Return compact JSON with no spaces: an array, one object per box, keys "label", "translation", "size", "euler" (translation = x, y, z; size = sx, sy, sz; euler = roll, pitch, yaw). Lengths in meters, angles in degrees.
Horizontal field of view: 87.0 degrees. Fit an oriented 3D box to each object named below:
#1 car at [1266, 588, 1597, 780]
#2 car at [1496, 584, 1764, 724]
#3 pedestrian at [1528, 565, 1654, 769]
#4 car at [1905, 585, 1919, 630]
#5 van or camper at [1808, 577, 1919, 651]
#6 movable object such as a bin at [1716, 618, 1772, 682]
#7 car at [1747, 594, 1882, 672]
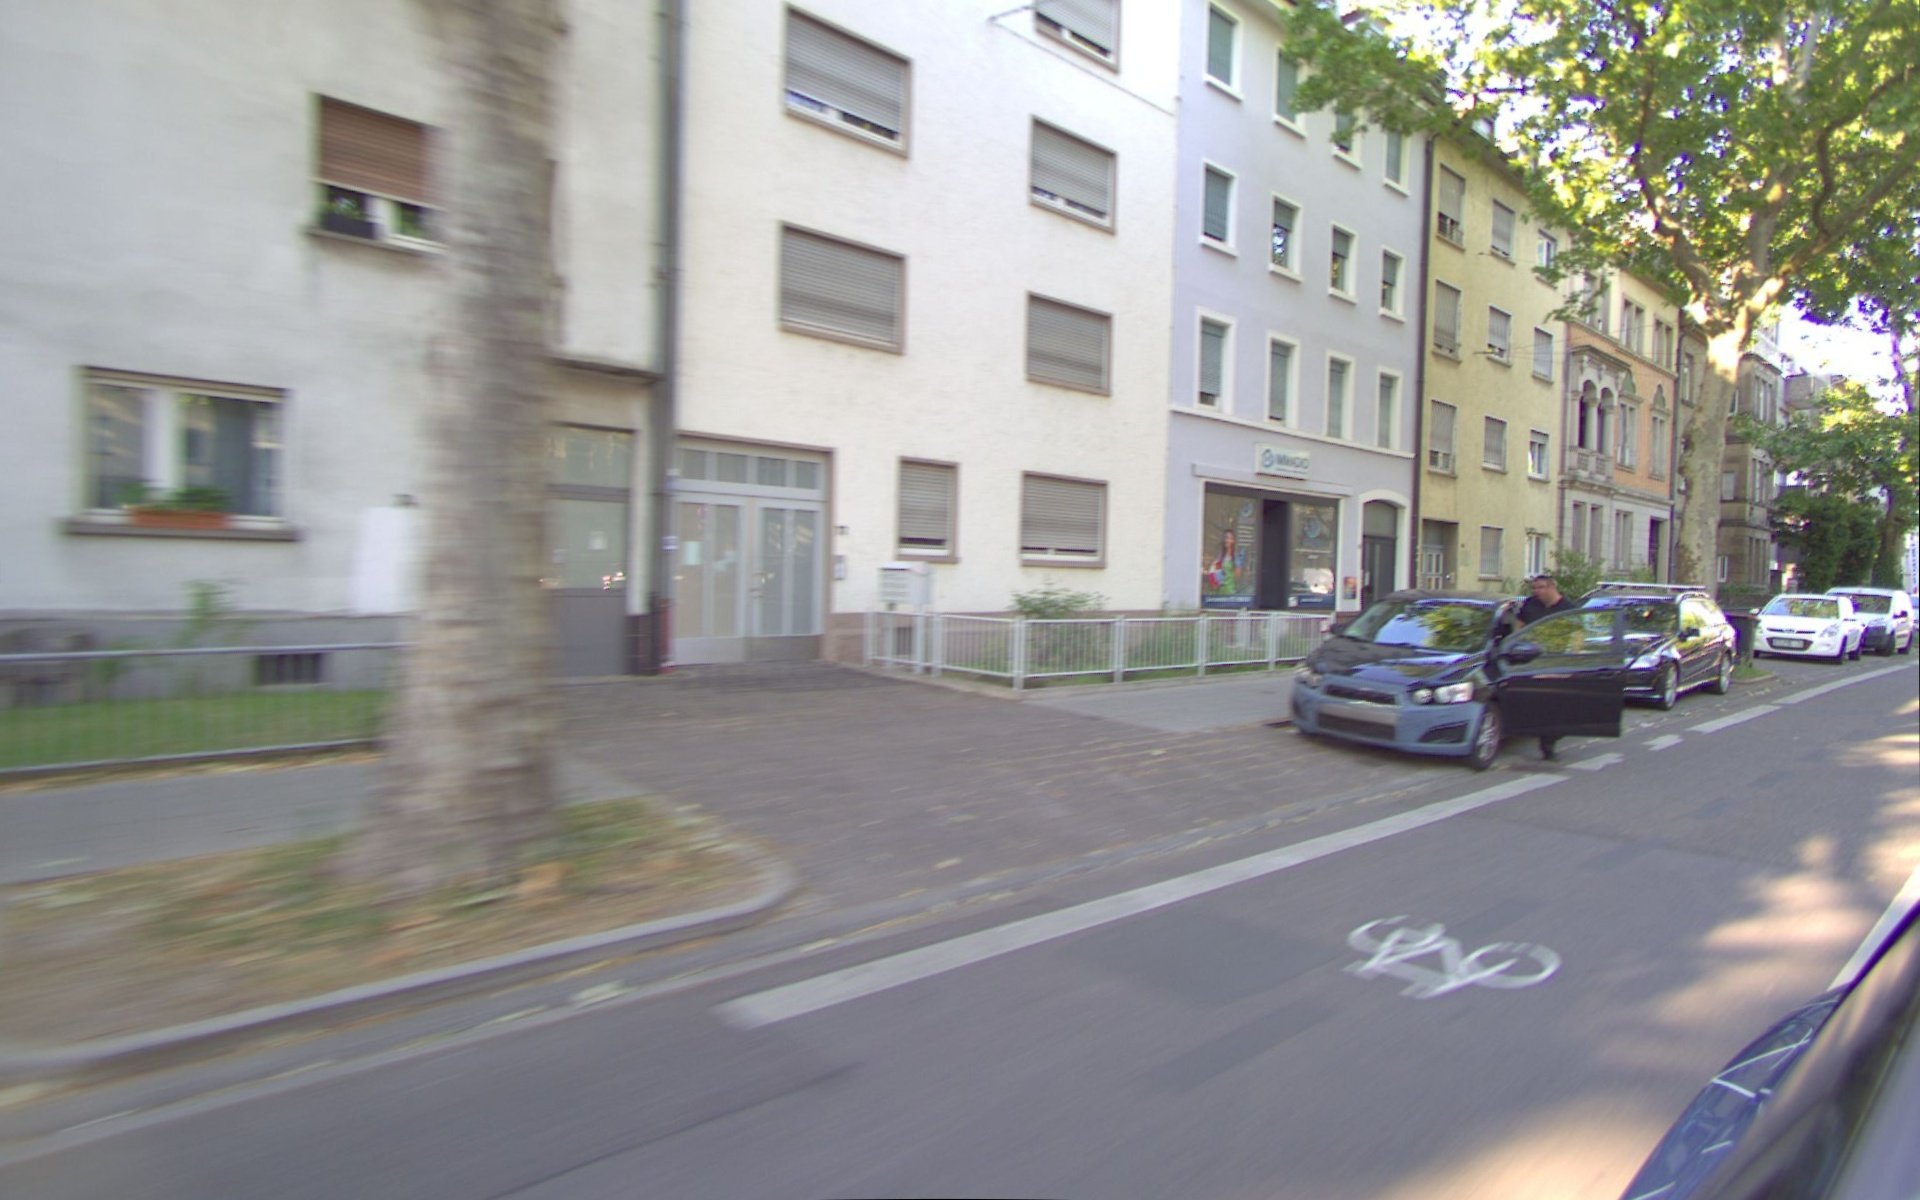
[{"label":"car","translation":[4.854,0.662,10.146],"size":[1.744,1.481,3.961],"euler":[3,2,45]},{"label":"car","translation":[9.780,0.641,14.635],"size":[4.582,1.585,1.998],"euler":[0,4,-41]},{"label":"pedestrian","translation":[5.705,0.582,9.190],"size":[0.665,1.773,0.757],"euler":[0,0,1]},{"label":"car","translation":[36.989,0.322,37.942],"size":[3.762,1.638,1.790],"euler":[0,3,-41]},{"label":"van or camper","translation":[24.339,0.338,27.000],"size":[4.300,1.741,1.791],"euler":[0,3,-40]},{"label":"movable object such as a bin","translation":[14.435,0.907,18.630],"size":[0.658,1.130,0.682],"euler":[0,0,-39]},{"label":"car","translation":[19.540,0.697,23.089],"size":[4.121,1.545,1.702],"euler":[0,2,-41]}]
